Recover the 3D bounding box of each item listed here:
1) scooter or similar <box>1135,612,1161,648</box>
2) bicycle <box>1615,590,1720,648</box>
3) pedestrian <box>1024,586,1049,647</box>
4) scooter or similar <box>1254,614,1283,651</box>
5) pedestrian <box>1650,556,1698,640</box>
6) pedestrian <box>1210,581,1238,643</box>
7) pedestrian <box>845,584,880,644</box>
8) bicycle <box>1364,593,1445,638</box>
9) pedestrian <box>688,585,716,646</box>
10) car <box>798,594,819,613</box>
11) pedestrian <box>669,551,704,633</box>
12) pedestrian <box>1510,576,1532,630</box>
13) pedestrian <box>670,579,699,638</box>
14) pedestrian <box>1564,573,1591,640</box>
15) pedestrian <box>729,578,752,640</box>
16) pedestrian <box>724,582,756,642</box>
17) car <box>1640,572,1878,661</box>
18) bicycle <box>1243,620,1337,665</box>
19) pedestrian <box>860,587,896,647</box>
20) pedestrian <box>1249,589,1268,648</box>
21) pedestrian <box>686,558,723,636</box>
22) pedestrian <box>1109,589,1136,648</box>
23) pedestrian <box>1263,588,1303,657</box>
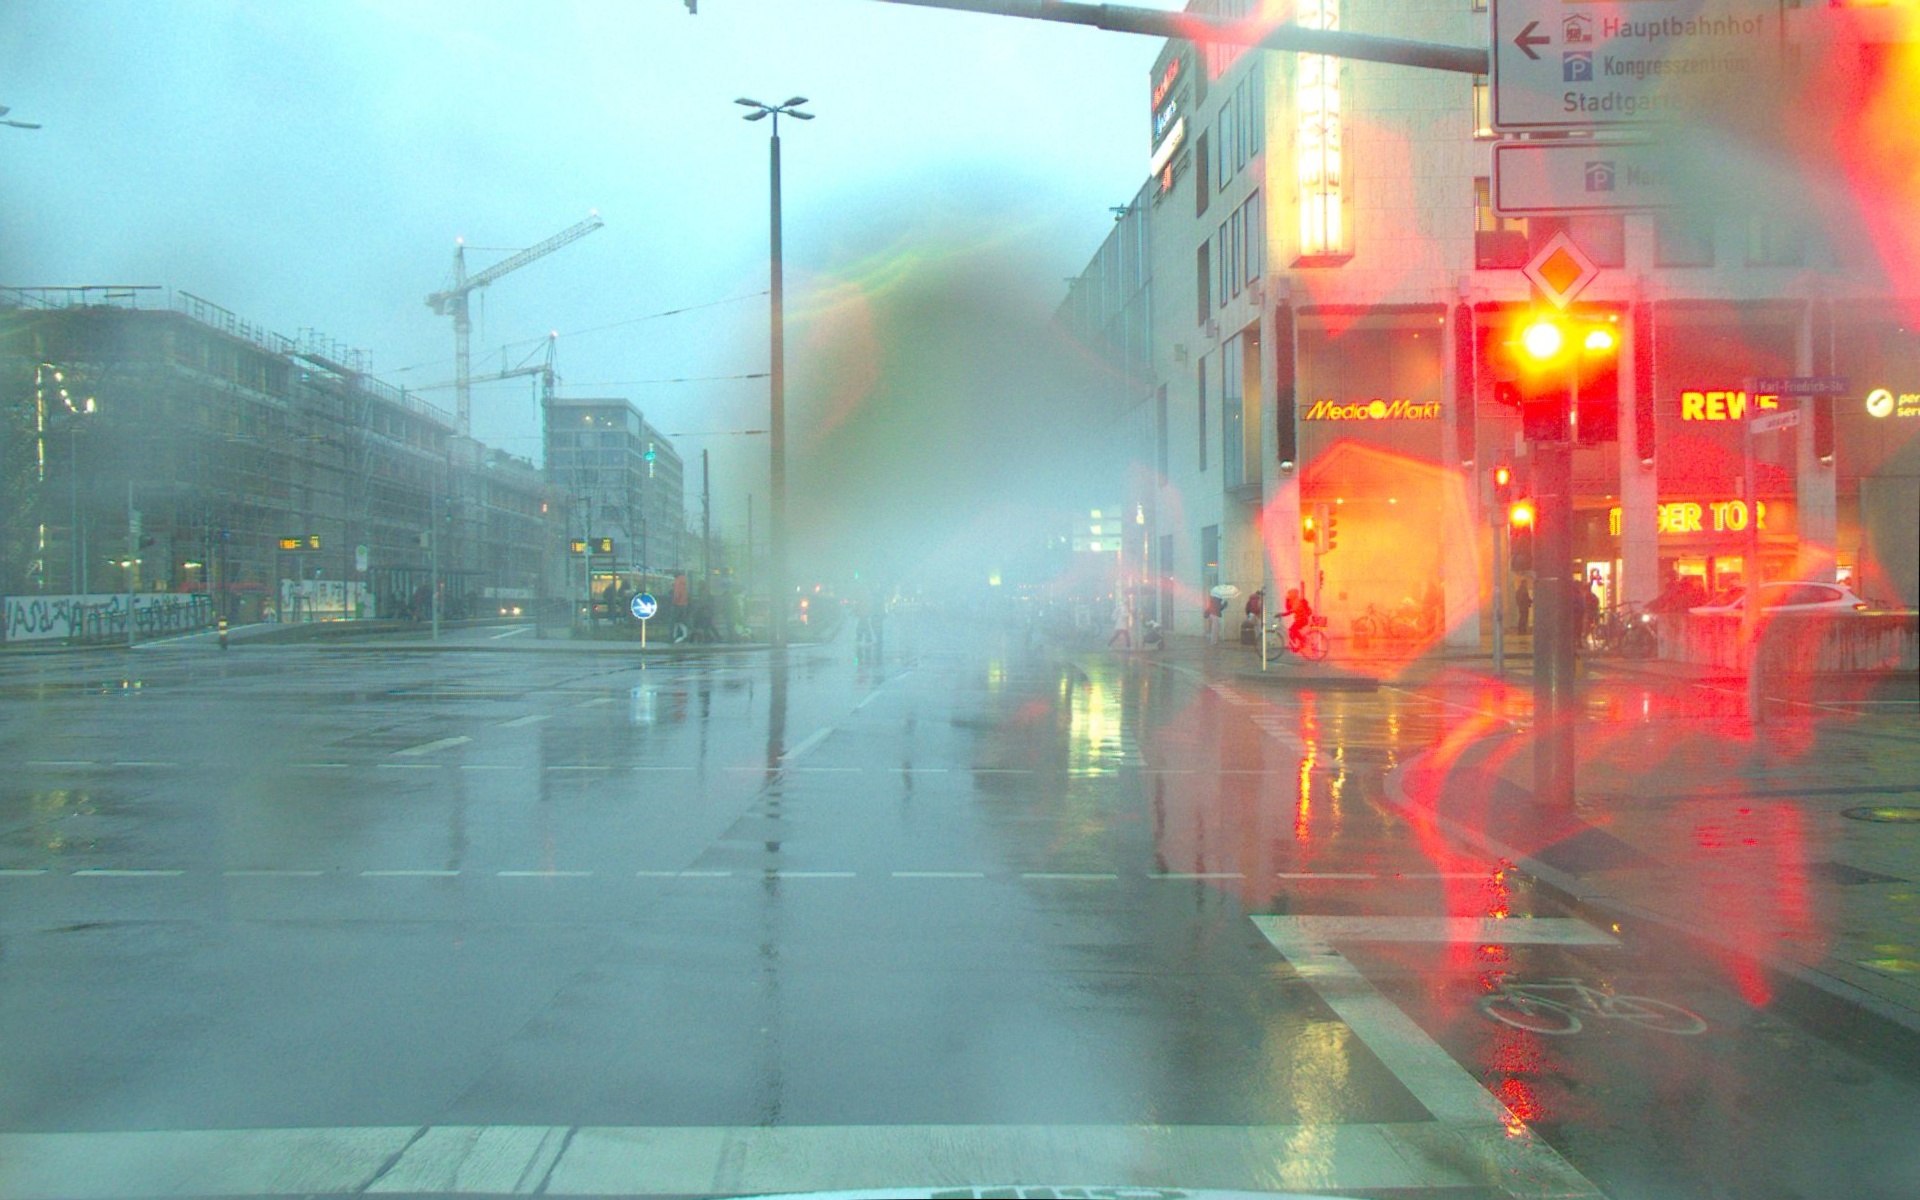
[{"bbox_3d":[5.441,0.865,47.863,0.725,1.011,0.401,-1,0,11],"label":"scooter or similar"},{"bbox_3d":[13.863,0.373,32.459,1.806,1.112,0.618,-1,0,14],"label":"bicycle"},{"bbox_3d":[2.269,0.487,48.958,0.688,1.791,0.652,-1,0,-1],"label":"pedestrian"},{"bbox_3d":[8.682,0.913,46.577,0.726,1.011,0.400,-1,0,0],"label":"scooter or similar"},{"bbox_3d":[13.997,-0.032,32.429,0.764,1.623,0.613,-1,0,14],"label":"pedestrian"},{"bbox_3d":[7.680,0.349,48.104,0.688,1.791,0.667,-1,0,-1],"label":"pedestrian"},{"bbox_3d":[-2.790,0.402,47.224,0.813,1.709,0.619,-1,0,19],"label":"pedestrian"},{"bbox_3d":[13.743,0.479,51.148,2.378,1.352,0.634,0,0,-6],"label":"bicycle"},{"bbox_3d":[-7.105,0.426,45.621,0.692,1.647,0.612,-1,0,-3],"label":"pedestrian"},{"bbox_3d":[-15.135,0.365,165.357,1.850,1.814,3.713,1,-1,-1],"label":"car"},{"bbox_3d":[-7.191,-0.205,43.511,0.682,2.124,0.604,-1,0,-41],"label":"pedestrian"},{"bbox_3d":[18.277,0.099,53.879,0.526,1.748,0.500,-1,0,37],"label":"pedestrian"},{"bbox_3d":[-7.821,0.239,47.019,0.692,1.647,0.680,-1,0,0],"label":"pedestrian"},{"bbox_3d":[16.000,0.167,42.856,0.526,1.715,0.547,-1,0,37],"label":"pedestrian"},{"bbox_3d":[-6.402,0.260,48.244,0.607,1.776,0.612,-1,0,-6],"label":"pedestrian"},{"bbox_3d":[-6.114,0.331,45.950,0.793,1.635,0.745,-1,0,-1],"label":"pedestrian"},{"bbox_3d":[16.914,0.343,35.161,4.213,1.792,1.707,-1,0,2],"label":"car"},{"bbox_3d":[7.660,0.985,38.447,2.084,1.009,0.541,1,-1,1],"label":"bicycle"},{"bbox_3d":[-2.374,0.478,47.816,0.825,1.718,0.677,-1,0,19],"label":"pedestrian"},{"bbox_3d":[9.182,0.558,50.861,0.501,1.791,0.374,-1,0,-1],"label":"pedestrian"},{"bbox_3d":[-6.865,-0.080,44.407,0.770,2.049,0.604,-1,0,-39],"label":"pedestrian"},{"bbox_3d":[4.722,0.539,48.002,0.725,1.696,0.401,-1,0,11],"label":"pedestrian"},{"bbox_3d":[7.509,0.520,38.449,0.798,1.597,0.536,-1,0,0],"label":"pedestrian"}]
